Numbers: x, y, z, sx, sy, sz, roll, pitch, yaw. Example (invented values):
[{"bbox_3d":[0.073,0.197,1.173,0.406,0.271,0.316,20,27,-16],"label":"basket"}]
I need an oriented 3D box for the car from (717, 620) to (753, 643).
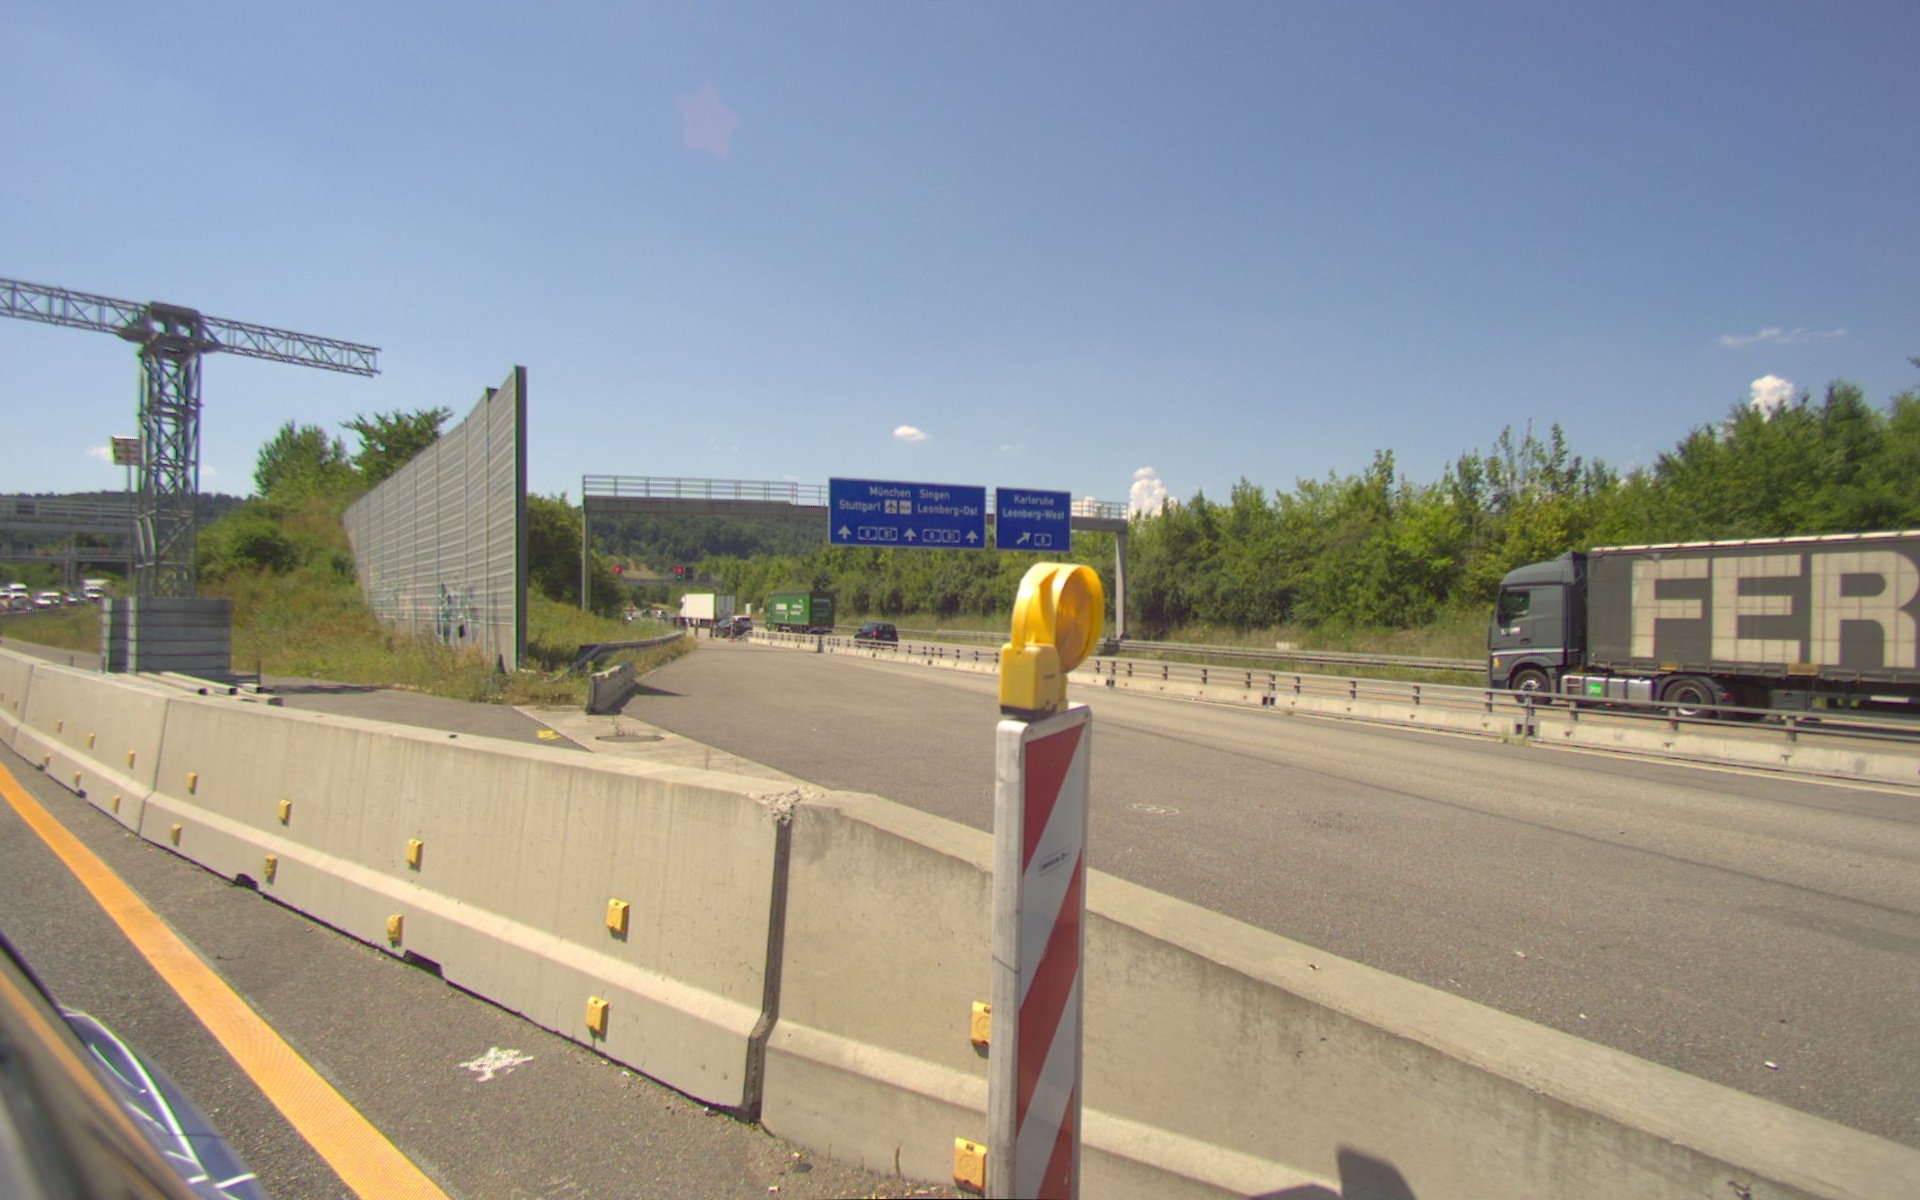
[{"bbox_3d":[-18.225,2.547,81.812,1.673,1.743,4.465,1,-1,-29],"label":"car"}]

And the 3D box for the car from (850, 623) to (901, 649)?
[{"bbox_3d":[-5.238,2.196,62.296,1.692,1.502,3.699,1,-1,-30],"label":"car"}]

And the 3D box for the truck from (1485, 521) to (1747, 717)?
[{"bbox_3d":[15.938,0.456,24.913,2.397,4.302,4.854,1,-1,-27],"label":"truck"}]

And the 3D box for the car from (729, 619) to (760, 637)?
[{"bbox_3d":[-20.165,2.575,94.458,1.692,1.636,4.183,1,0,-29],"label":"car"}]

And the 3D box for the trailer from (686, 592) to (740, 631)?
[{"bbox_3d":[-29.526,1.270,120.382,3.496,4.302,13.954,0,0,-26],"label":"trailer"}]

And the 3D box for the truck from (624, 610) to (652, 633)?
[{"bbox_3d":[-65.857,4.394,206.675,3.496,4.302,13.954,0,0,-26],"label":"truck"}]

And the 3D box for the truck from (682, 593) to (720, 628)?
[{"bbox_3d":[-32.438,1.260,126.504,3.496,4.302,5.798,0,0,-26],"label":"truck"}]

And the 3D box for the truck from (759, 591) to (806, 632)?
[{"bbox_3d":[-18.985,1.180,108.135,3.496,4.302,5.798,0,0,-26],"label":"truck"}]

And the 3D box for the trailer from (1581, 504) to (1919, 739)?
[{"bbox_3d":[19.090,0.409,18.629,2.401,4.329,13.854,1,-1,-27],"label":"trailer"}]

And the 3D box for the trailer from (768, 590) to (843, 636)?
[{"bbox_3d":[-15.707,1.206,101.327,3.496,4.302,13.954,0,0,-26],"label":"trailer"}]
